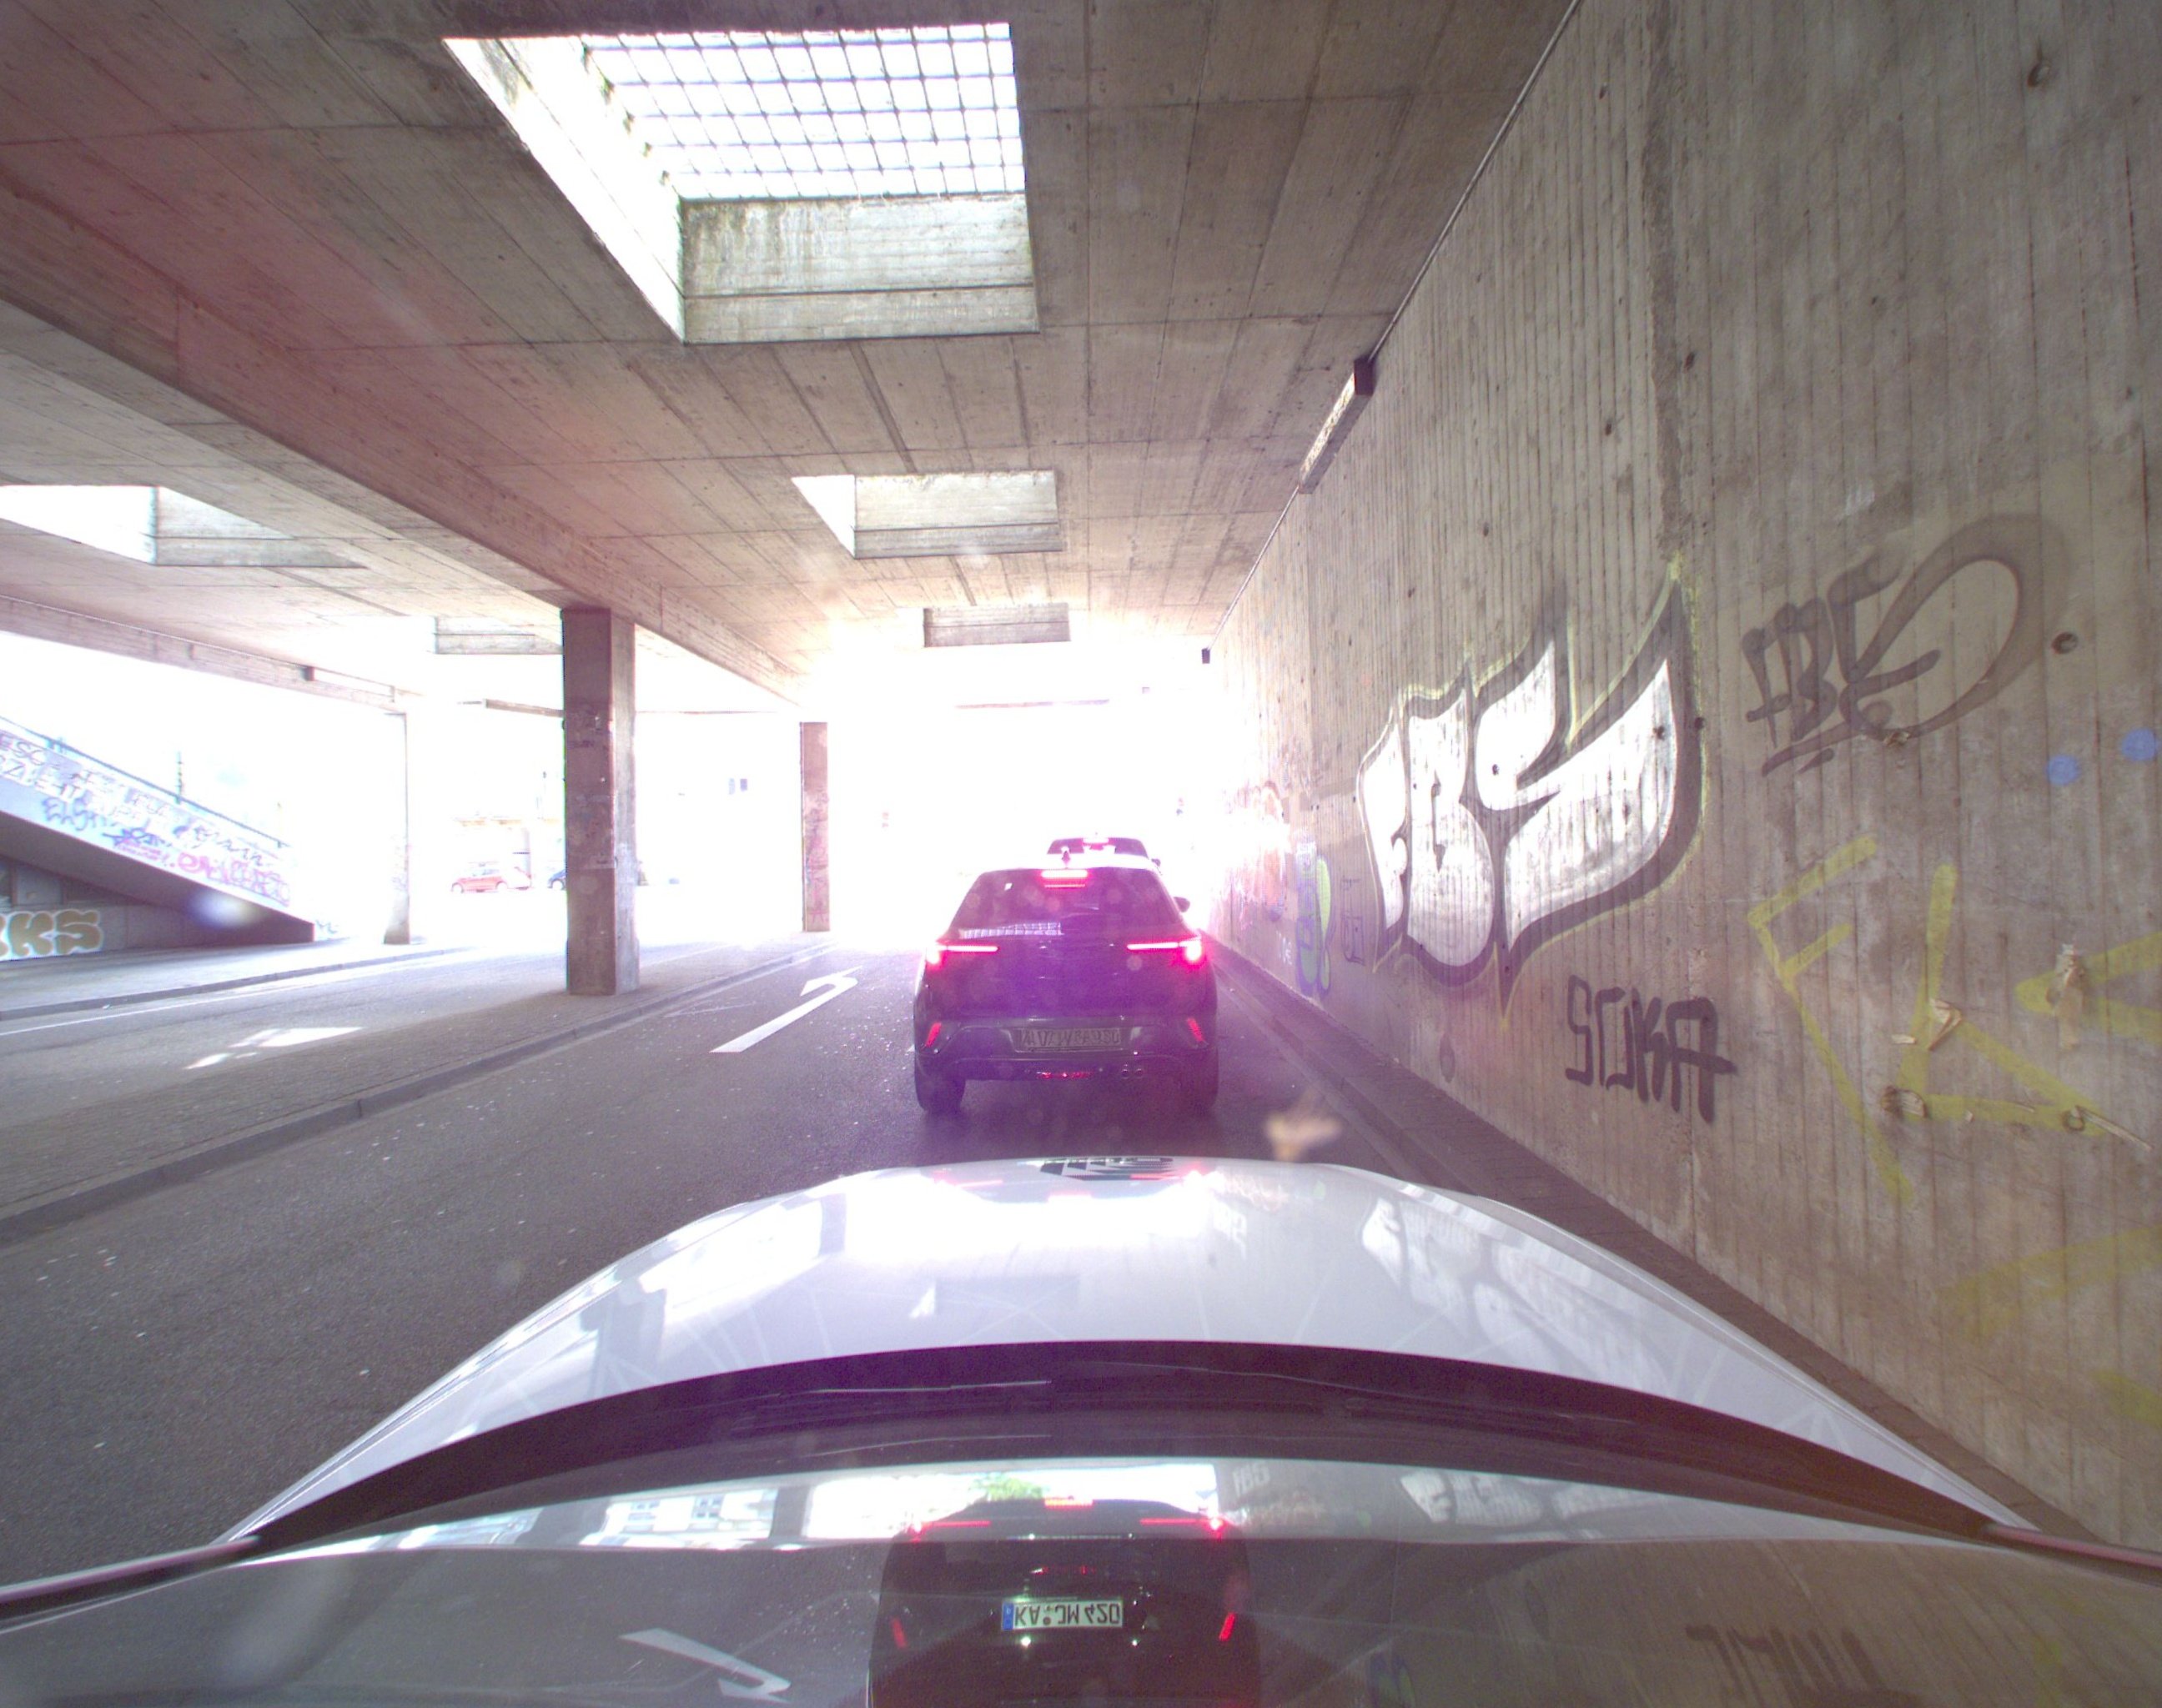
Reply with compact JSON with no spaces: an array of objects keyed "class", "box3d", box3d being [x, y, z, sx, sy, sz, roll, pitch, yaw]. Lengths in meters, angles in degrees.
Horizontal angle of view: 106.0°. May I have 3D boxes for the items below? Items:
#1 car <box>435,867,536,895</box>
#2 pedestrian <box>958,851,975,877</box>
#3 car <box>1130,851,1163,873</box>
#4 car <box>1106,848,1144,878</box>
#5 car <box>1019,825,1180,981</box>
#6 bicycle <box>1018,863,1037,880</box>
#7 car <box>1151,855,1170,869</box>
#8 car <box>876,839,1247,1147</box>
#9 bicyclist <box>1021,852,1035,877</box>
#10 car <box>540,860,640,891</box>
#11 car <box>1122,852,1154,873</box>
[{"class":"car","box3d":[-33.012,1.473,45.241,3.970,1.374,2.192,-2,0,3]},{"class":"pedestrian","box3d":[-9.114,0.815,65.034,0.986,2.013,1.091,-2,0,10]},{"class":"car","box3d":[5.584,0.692,69.045,2.206,1.719,4.474,-2,-2,12]},{"class":"car","box3d":[2.409,0.508,44.274,1.959,1.497,3.900,-2,-2,4]},{"class":"car","box3d":[0.290,0.602,12.016,1.938,1.860,3.966,-2,0,2]},{"class":"bicycle","box3d":[-3.389,1.109,51.750,0.727,1.067,1.694,-1,-1,11]},{"class":"car","box3d":[9.967,0.953,101.447,1.981,1.662,4.012,-1,-1,11]},{"class":"car","box3d":[-0.041,0.719,6.195,1.875,1.538,3.966,-2,0,2]},{"class":"bicyclist","box3d":[-3.380,0.652,51.785,0.724,1.581,0.817,-1,-1,11]},{"class":"car","box3d":[-27.208,1.184,45.243,4.114,1.550,2.268,-2,0,1]},{"class":"car","box3d":[4.403,0.647,62.259,1.955,1.497,3.908,-2,-2,11]}]
